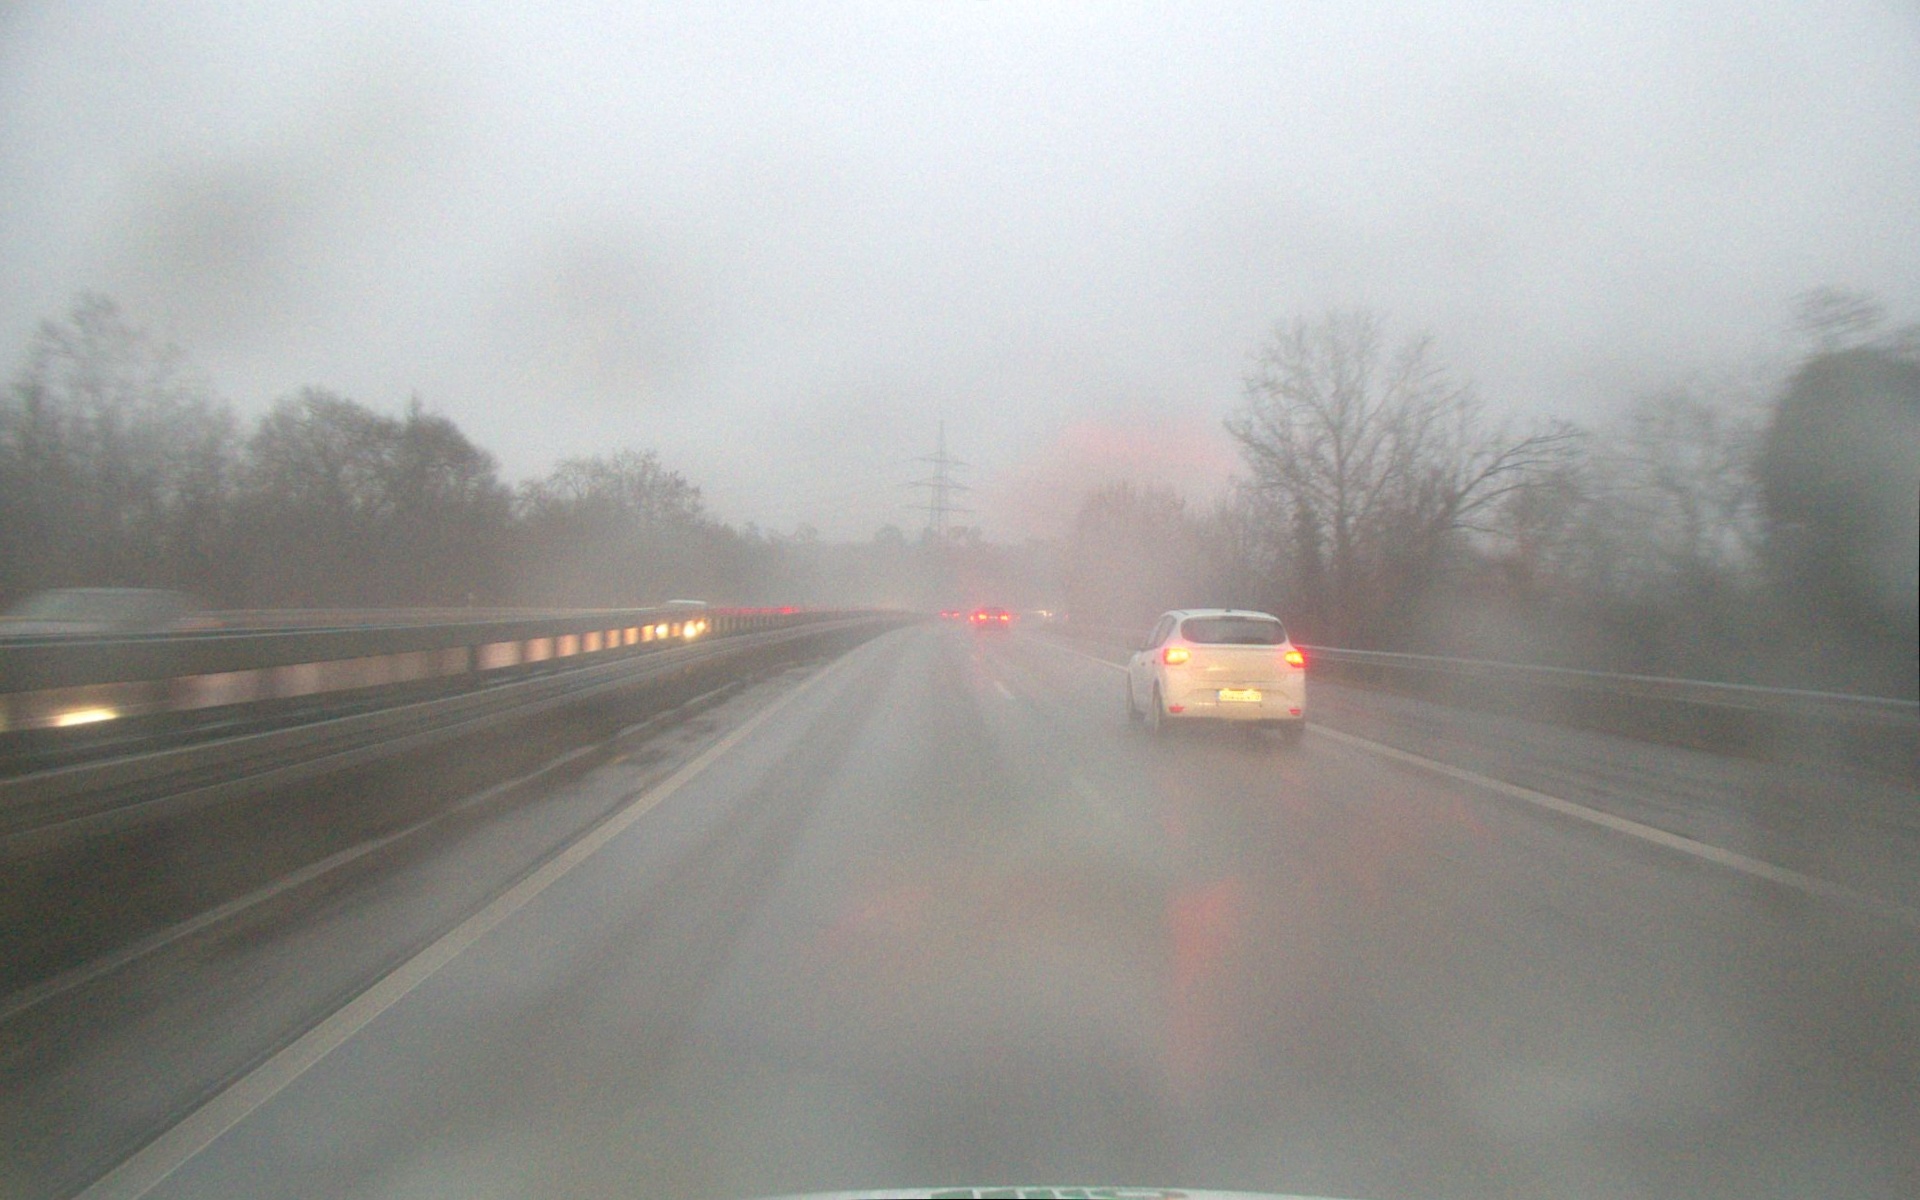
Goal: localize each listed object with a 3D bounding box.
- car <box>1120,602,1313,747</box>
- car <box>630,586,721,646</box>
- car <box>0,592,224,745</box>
[{"bbox_3d":[3.140,0.891,20.973,1.808,1.664,3.766,0,-1,-1],"label":"car"},{"bbox_3d":[-8.991,0.473,52.693,2.120,1.823,4.808,0,0,-1],"label":"car"},{"bbox_3d":[-12.067,0.820,22.380,2.120,1.823,4.808,0,0,-1],"label":"car"}]
